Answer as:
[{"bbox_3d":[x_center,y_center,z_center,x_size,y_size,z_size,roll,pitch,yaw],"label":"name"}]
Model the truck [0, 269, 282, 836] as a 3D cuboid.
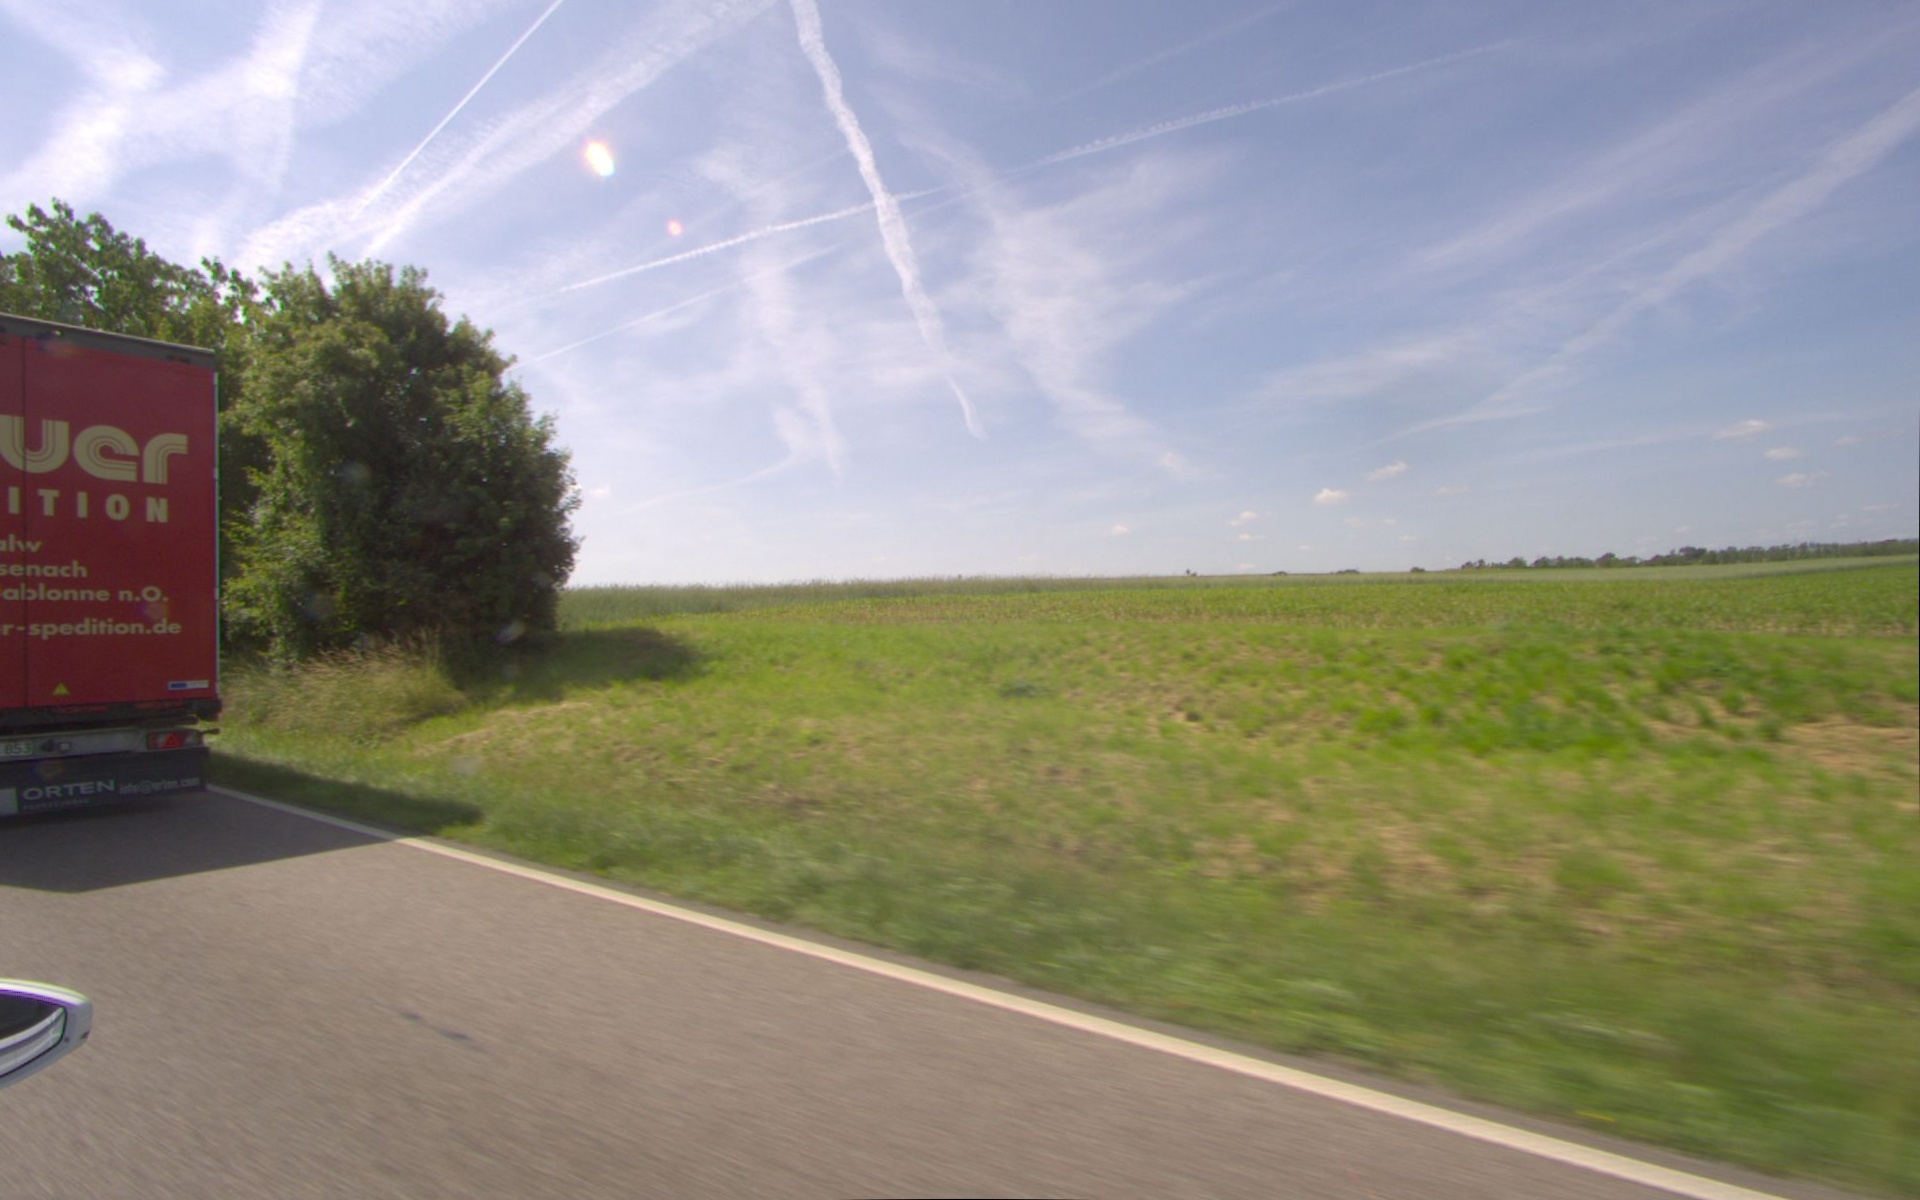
[{"bbox_3d":[-13.503,-0.165,12.785,16.504,4.233,2.997,-2,-2,38],"label":"truck"}]
